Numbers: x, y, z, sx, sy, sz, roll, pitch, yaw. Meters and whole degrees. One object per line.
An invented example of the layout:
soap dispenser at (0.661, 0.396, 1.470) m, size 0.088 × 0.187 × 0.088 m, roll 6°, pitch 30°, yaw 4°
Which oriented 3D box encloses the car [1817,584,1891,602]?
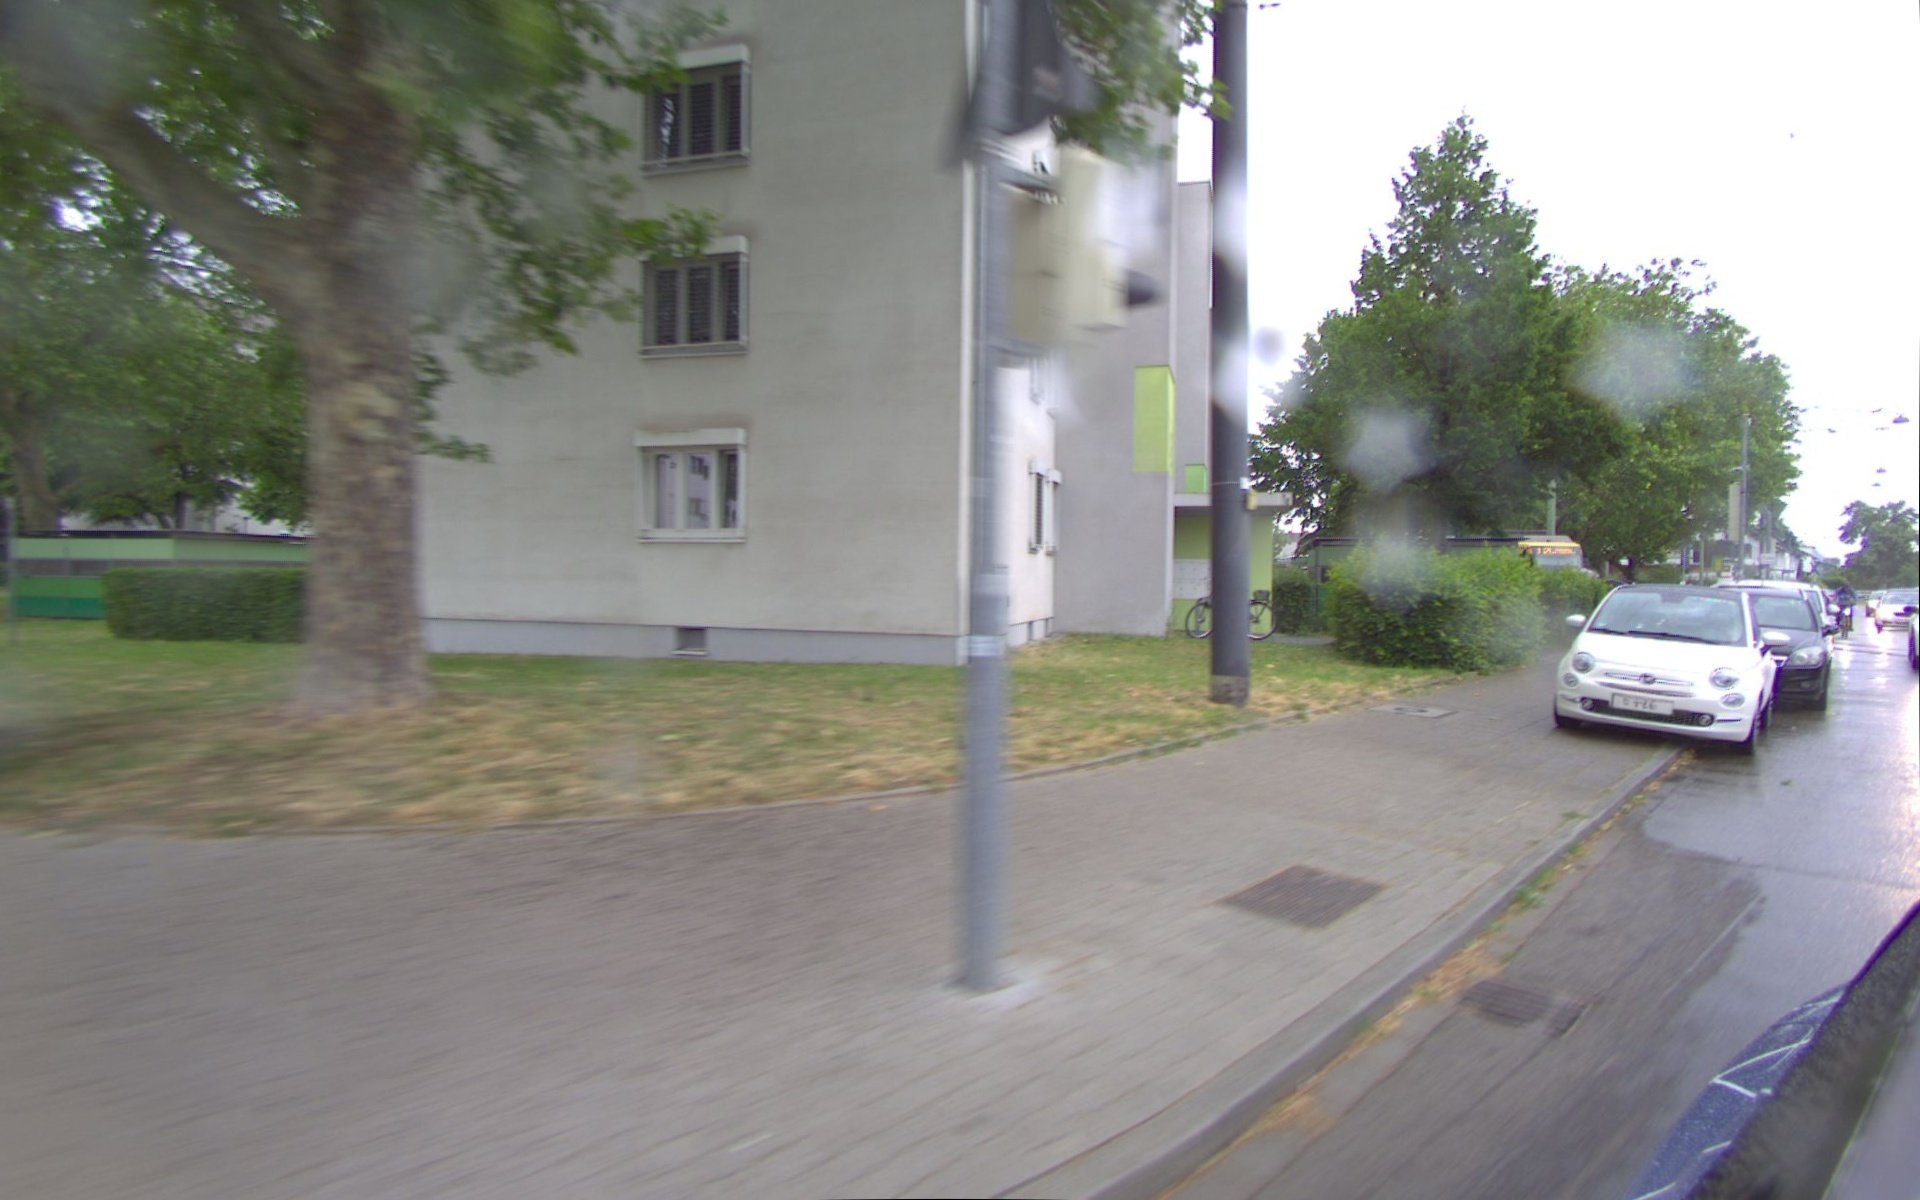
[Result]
car at (75.786, -0.633, 85.873) m, size 2.065 × 1.449 × 4.283 m, roll 0°, pitch 2°, yaw -31°

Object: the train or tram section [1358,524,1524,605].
train or tram section at (22.410, -1.703, 48.054) m, size 2.704 × 3.380 × 10.358 m, roll 1°, pitch 2°, yaw -1°

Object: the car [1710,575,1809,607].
car at (40.344, -0.477, 51.138) m, size 3.528 × 1.477 × 1.611 m, roll 2°, pitch 2°, yaw 17°

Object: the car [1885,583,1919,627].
car at (35.709, 0.184, 37.595) m, size 1.848 × 1.527 × 4.059 m, roll 3°, pitch 3°, yaw 42°

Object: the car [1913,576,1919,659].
car at (18.990, 0.320, 18.723) m, size 1.848 × 1.528 × 4.059 m, roll 1°, pitch 1°, yaw 42°

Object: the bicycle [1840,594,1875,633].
bicycle at (26.163, 0.388, 29.487) m, size 0.708 × 1.050 × 2.067 m, roll 2°, pitch 2°, yaw 42°

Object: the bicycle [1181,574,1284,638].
bicycle at (5.152, 0.106, 19.161) m, size 1.837 × 1.156 × 0.530 m, roll 1°, pitch 1°, yaw 19°

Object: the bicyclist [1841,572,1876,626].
bicyclist at (26.259, -0.043, 29.567) m, size 0.708 × 1.531 × 0.704 m, roll 2°, pitch 2°, yaw 42°

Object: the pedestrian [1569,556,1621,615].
pedestrian at (20.010, -0.466, 31.913) m, size 0.847 × 1.796 × 1.021 m, roll 1°, pitch 2°, yaw -16°

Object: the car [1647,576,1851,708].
car at (10.754, 0.429, 13.701) m, size 1.898 × 1.467 × 4.122 m, roll 3°, pitch 3°, yaw 41°

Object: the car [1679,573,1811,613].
car at (32.658, -0.311, 42.223) m, size 3.936 × 1.546 × 1.715 m, roll 1°, pitch 2°, yaw 11°

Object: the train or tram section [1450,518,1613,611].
train or tram section at (22.565, -1.419, 40.423) m, size 2.704 × 3.380 × 6.404 m, roll 1°, pitch 2°, yaw -1°

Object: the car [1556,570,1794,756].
car at (7.569, 0.490, 10.557) m, size 1.557 × 1.537 × 3.940 m, roll 3°, pitch 3°, yaw 42°

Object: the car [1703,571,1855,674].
car at (14.714, 0.300, 18.122) m, size 1.898 × 1.594 × 4.051 m, roll 3°, pitch 3°, yaw 41°

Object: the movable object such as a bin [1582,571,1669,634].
movable object such as a bin at (16.123, 0.042, 24.585) m, size 1.132 × 1.458 × 1.476 m, roll 1°, pitch 2°, yaw 4°

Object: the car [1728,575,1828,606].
car at (43.072, -0.542, 53.371) m, size 3.658 × 1.502 × 1.610 m, roll 2°, pitch 2°, yaw 18°
